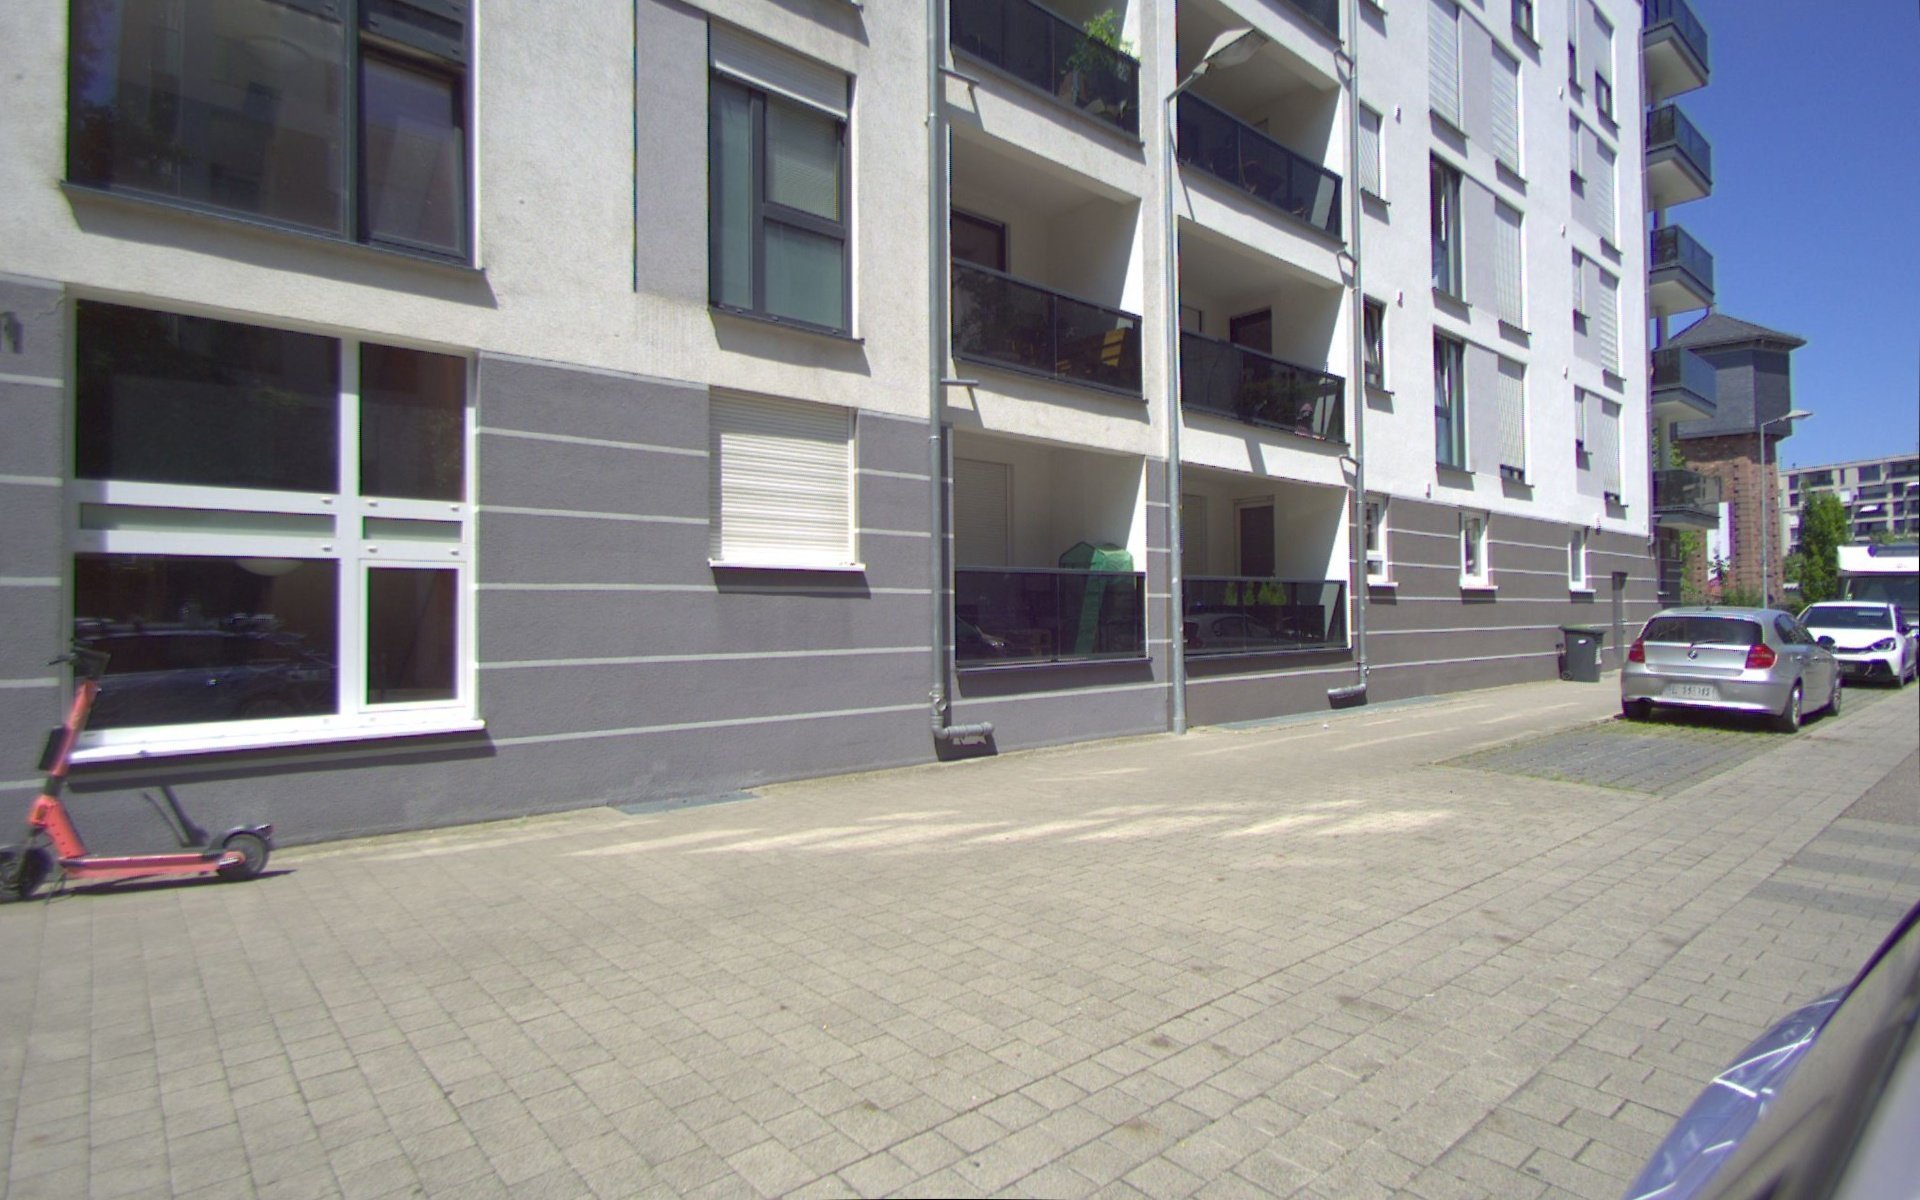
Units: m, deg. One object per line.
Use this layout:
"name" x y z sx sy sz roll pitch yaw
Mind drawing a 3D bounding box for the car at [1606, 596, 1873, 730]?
"car" 10.119 0.689 13.020 4.348 1.434 1.849 0 -1 -40

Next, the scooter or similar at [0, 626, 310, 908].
"scooter or similar" -4.098 0.760 4.935 1.498 1.241 0.548 0 -2 -26

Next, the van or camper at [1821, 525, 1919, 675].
"van or camper" 21.611 -0.033 22.721 7.693 2.943 2.441 -1 -1 -42

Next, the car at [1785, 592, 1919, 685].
"car" 16.826 0.634 18.804 4.189 1.524 1.809 0 0 -43
